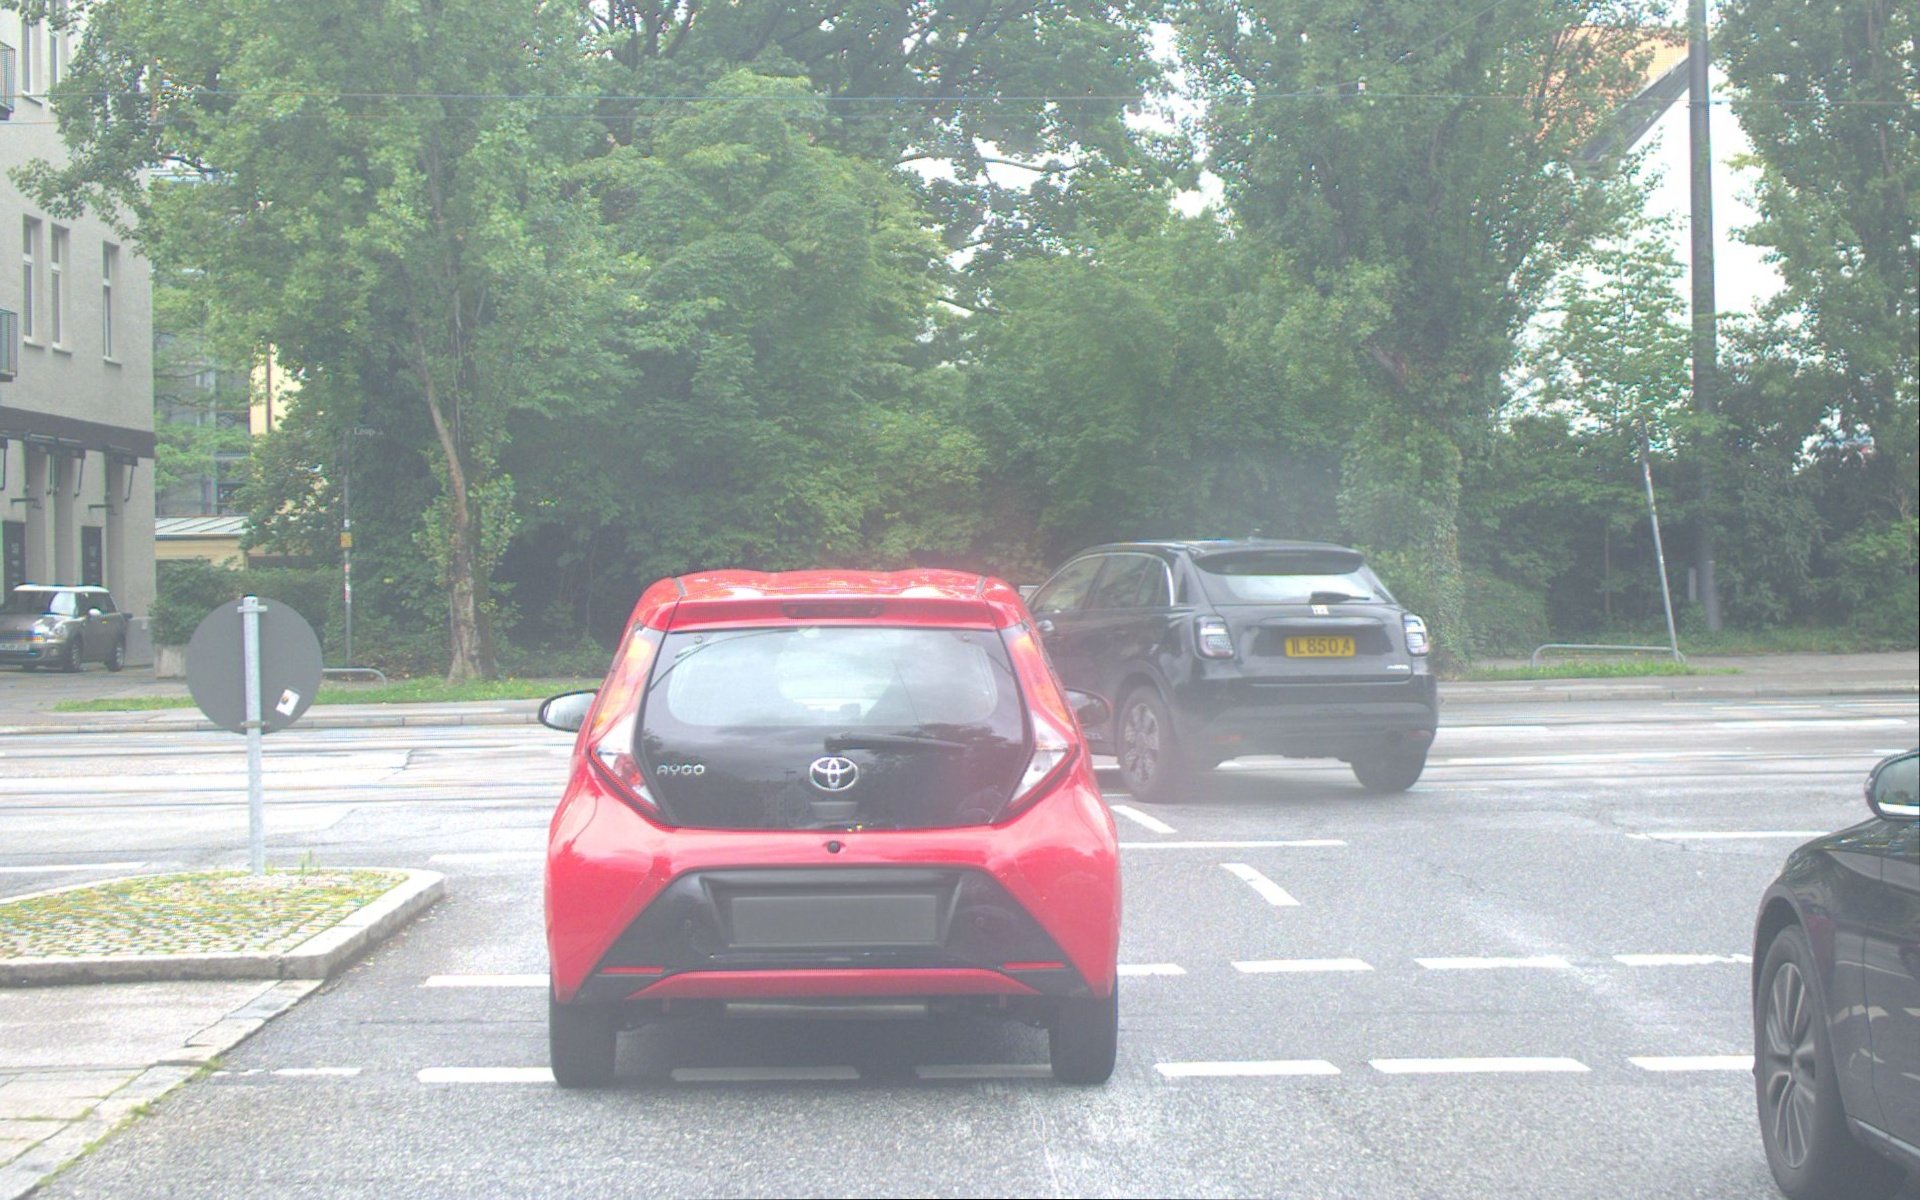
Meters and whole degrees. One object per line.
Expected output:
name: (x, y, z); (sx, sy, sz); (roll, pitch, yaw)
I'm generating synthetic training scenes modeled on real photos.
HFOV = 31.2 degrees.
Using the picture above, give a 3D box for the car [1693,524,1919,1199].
car: (2.795, 0.642, 6.301); (1.863, 1.544, 4.704); (1, 1, 0)

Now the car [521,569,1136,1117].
car: (-0.328, 0.637, 10.887); (1.628, 1.435, 3.376); (-1, 1, 1)

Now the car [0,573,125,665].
car: (-15.009, 0.290, 56.685); (1.725, 1.437, 4.001); (-1, 1, -4)

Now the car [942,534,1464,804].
car: (1.382, 0.379, 21.240); (1.780, 1.481, 4.001); (-1, 0, -19)
